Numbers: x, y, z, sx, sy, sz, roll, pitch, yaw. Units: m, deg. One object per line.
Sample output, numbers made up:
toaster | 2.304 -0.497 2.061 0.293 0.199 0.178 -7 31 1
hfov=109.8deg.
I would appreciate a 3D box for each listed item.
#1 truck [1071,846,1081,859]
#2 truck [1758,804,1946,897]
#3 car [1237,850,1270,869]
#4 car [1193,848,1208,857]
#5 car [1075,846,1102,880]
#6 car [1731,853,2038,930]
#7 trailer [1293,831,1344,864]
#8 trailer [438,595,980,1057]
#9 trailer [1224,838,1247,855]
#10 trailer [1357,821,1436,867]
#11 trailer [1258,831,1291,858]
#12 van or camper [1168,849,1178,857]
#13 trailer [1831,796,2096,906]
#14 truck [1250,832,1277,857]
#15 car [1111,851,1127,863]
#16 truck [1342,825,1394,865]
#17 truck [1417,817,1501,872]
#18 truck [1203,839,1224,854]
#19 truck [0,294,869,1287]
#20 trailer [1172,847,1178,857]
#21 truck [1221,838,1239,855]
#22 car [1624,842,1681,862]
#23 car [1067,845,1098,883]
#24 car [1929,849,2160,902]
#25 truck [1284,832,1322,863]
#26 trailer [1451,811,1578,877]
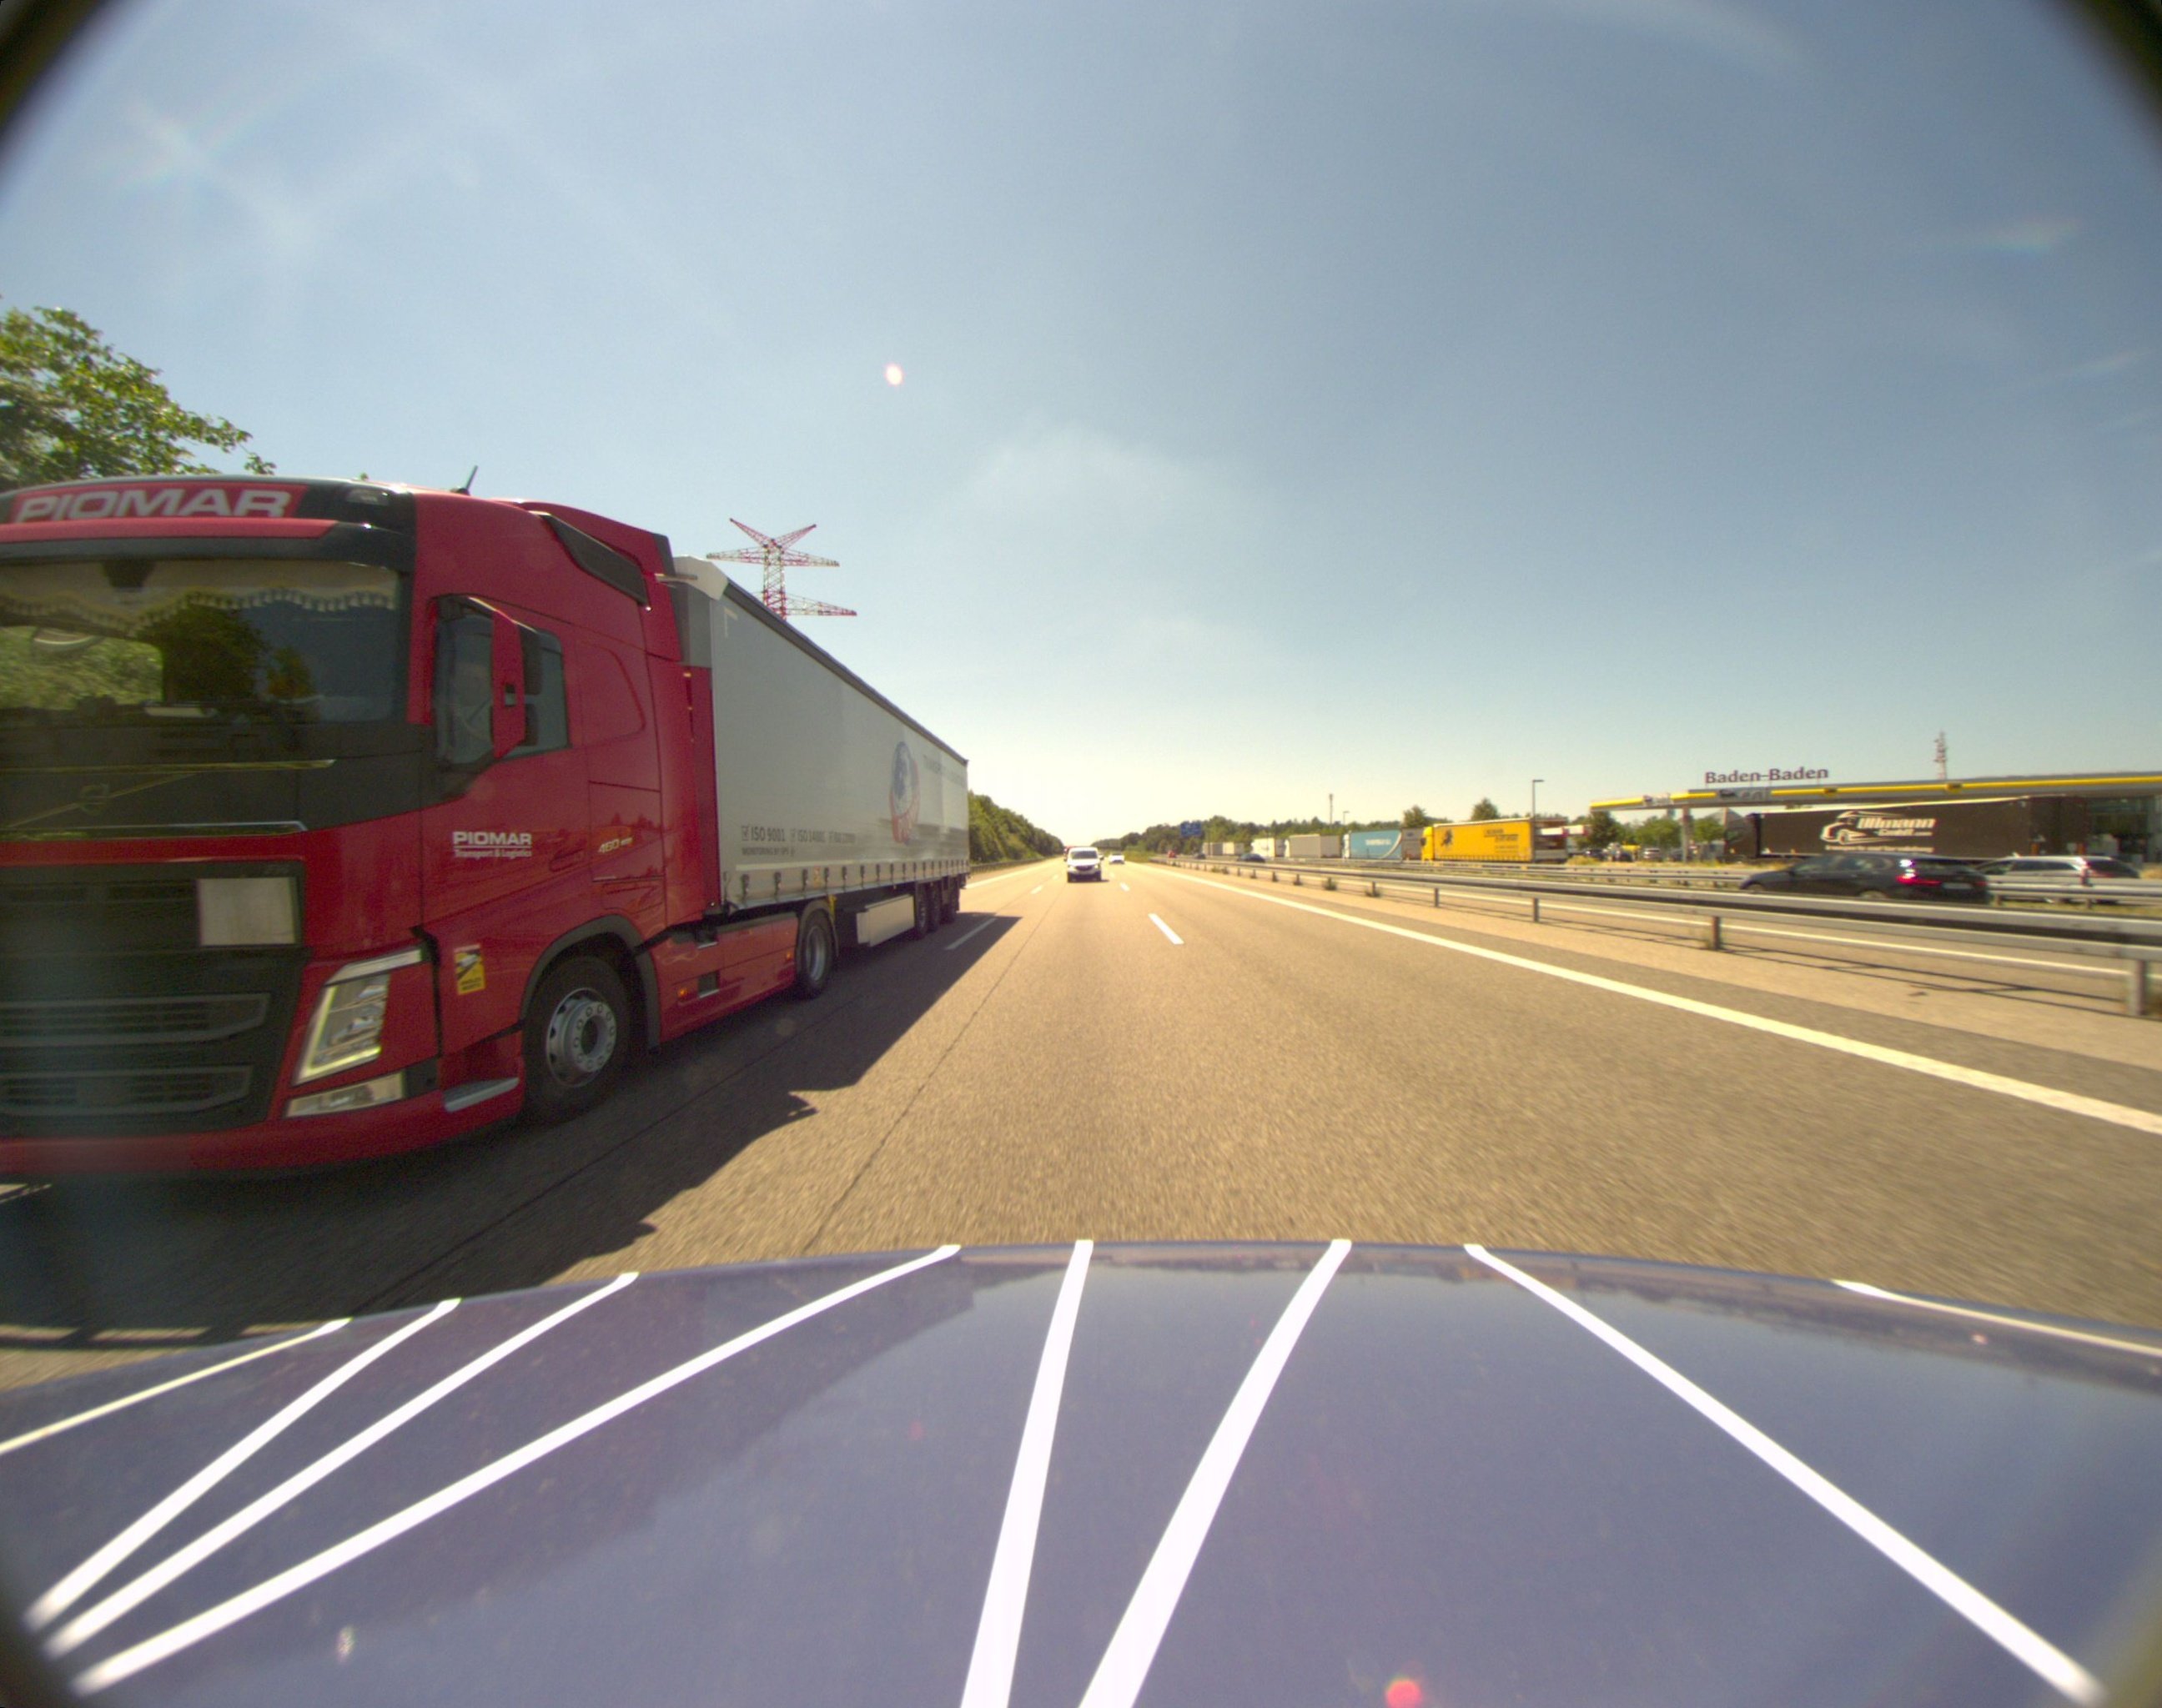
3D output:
truck | -1.510 -0.473 219.788 2.540 3.656 5.219 -3 1 1
truck | 44.446 -0.214 44.279 3.033 4.822 7.878 -3 1 2
car | 16.476 0.458 72.855 1.977 1.637 5.016 -3 0 0
car | 19.017 -0.264 121.211 1.746 1.269 4.318 2 1 1
car | 0.443 0.485 43.699 1.413 1.795 3.200 -3 1 0
car | 17.045 0.707 16.562 1.873 1.390 4.545 1 1 1
trailer | 31.749 -0.865 102.079 3.121 4.134 11.013 -3 1 -1
trailer | -4.123 -0.285 13.638 2.496 3.887 14.244 -2 1 0
trailer | 38.469 -1.859 189.929 3.102 4.132 12.009 -3 0 0
trailer | 31.702 -0.962 77.159 2.840 4.124 12.082 -3 0 0
trailer | 31.526 -1.555 124.043 2.605 4.194 10.513 -3 1 0
van or camper | 23.095 -0.240 191.165 1.901 1.828 4.746 -1 0 0
trailer | 44.230 -0.162 38.760 3.040 4.822 9.134 -3 1 2
truck | 31.550 -1.622 131.772 2.588 4.164 7.935 -2 1 0
car | 4.674 0.377 93.911 1.775 1.410 3.401 -3 1 1
truck | 31.675 -0.998 84.236 2.857 4.049 7.088 -3 1 0
truck | 31.322 -0.755 63.389 2.840 4.176 7.917 -3 1 0
truck | 33.187 -1.839 191.354 2.806 3.622 13.605 -3 0 0
truck | -4.177 -0.240 6.568 2.505 3.897 7.096 -2 1 0
trailer | 23.047 -0.439 186.437 1.170 2.355 1.998 -1 1 0
truck | 38.513 -1.910 196.690 3.103 4.128 8.315 -3 1 0
car | 63.724 -0.226 84.767 4.868 1.976 1.954 -2 1 32
car | 0.083 0.491 39.903 1.501 1.799 3.394 -3 1 0
car | 31.167 0.618 24.836 1.817 1.480 4.508 -3 0 0
truck | 31.656 -0.914 108.661 3.125 4.134 7.503 -3 1 -1
trailer | 31.353 -0.713 55.771 2.840 4.195 11.081 -3 1 0
